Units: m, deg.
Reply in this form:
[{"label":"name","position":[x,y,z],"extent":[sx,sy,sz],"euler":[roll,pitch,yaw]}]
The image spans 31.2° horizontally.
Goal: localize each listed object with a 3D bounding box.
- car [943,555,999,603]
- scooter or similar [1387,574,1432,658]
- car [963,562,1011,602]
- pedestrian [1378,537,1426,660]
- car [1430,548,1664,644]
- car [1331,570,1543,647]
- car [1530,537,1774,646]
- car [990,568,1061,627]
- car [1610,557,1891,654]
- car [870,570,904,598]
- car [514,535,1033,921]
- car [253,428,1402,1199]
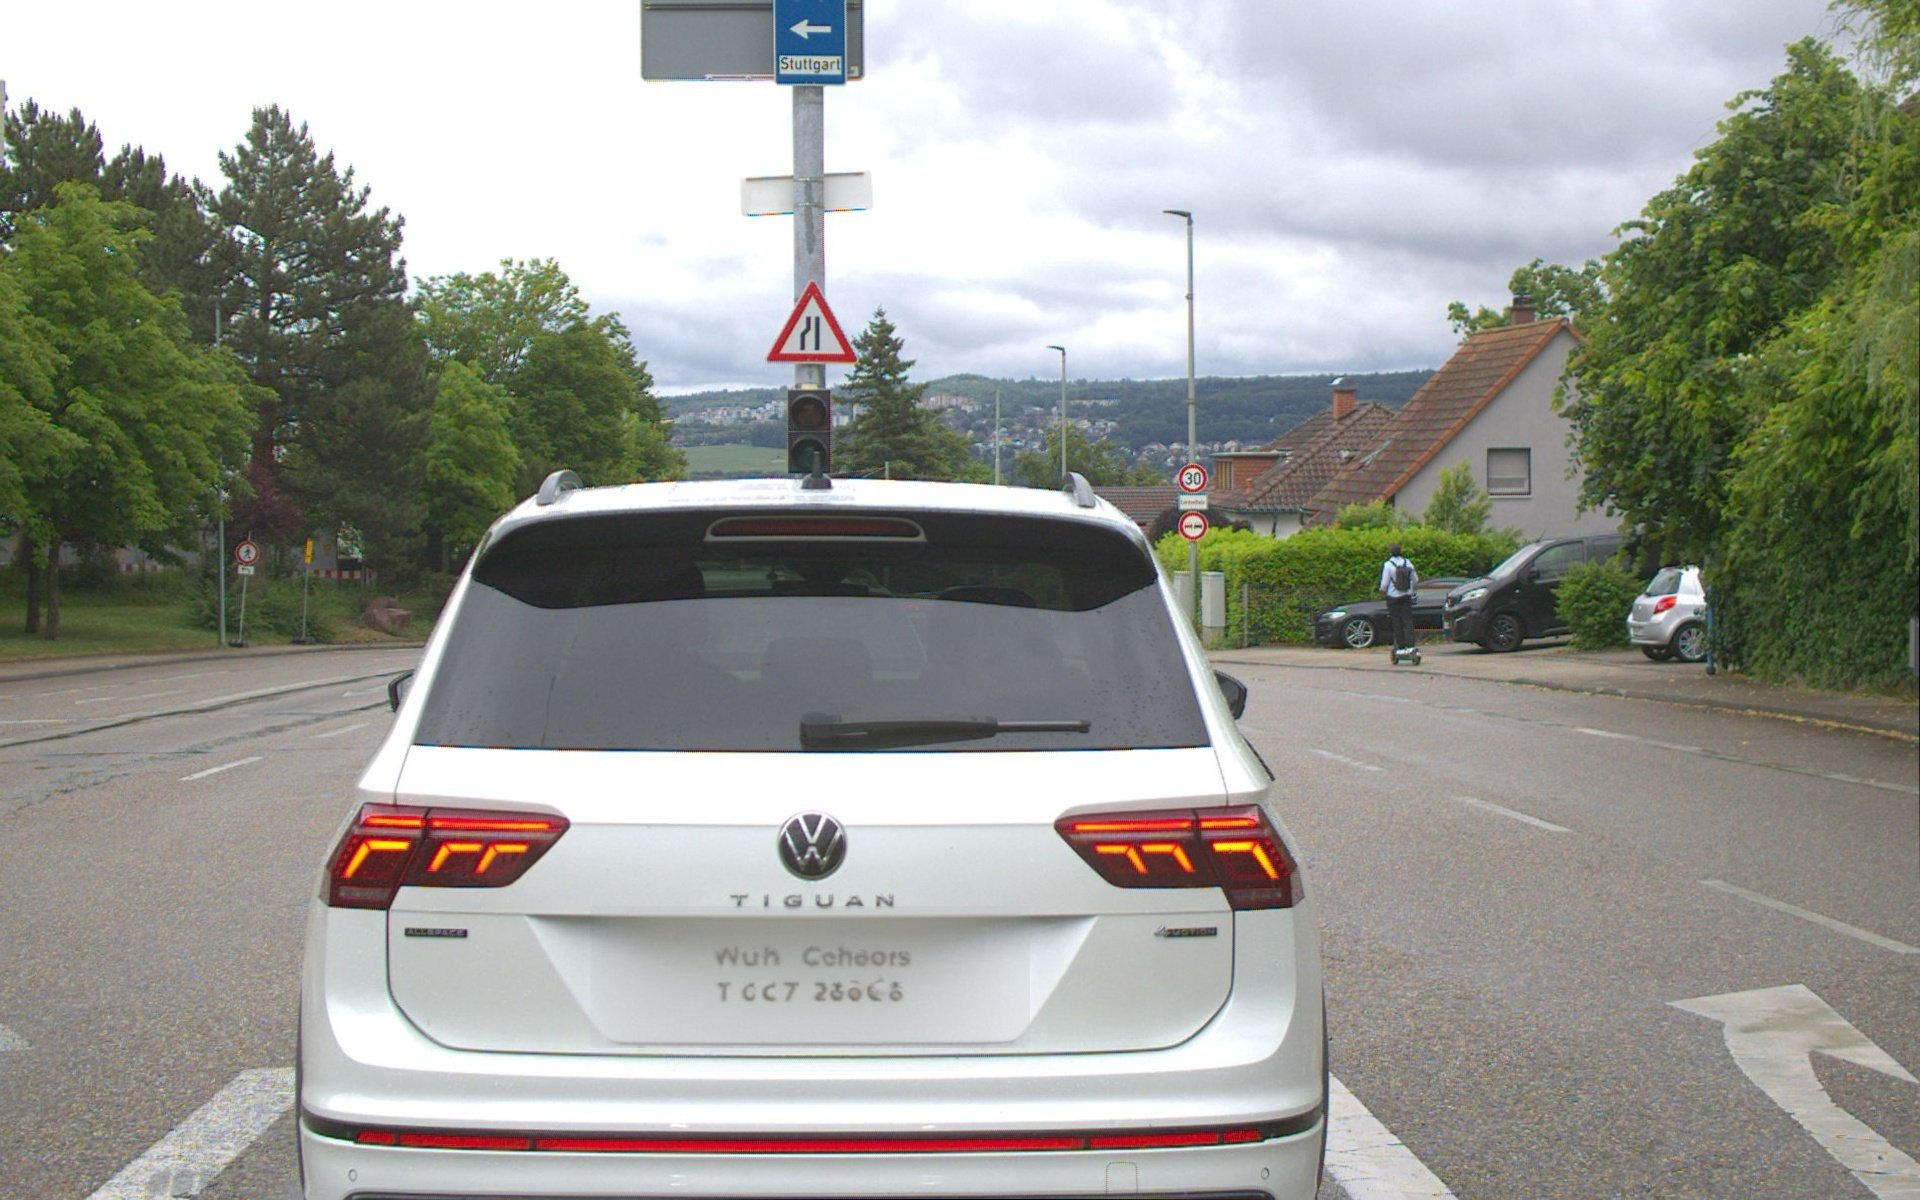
[{"label":"car","position":[0.354,-0.716,115.202],"extent":[1.850,1.569,4.000],"euler":[0,1,0]},{"label":"scooter or similar","position":[7.362,0.250,56.302],"extent":[0.461,1.356,1.385],"euler":[0,1,-4]},{"label":"car","position":[1.090,-0.745,140.198],"extent":[1.850,1.569,4.000],"euler":[-1,1,0]},{"label":"pedestrian","position":[7.224,-0.025,56.211],"extent":[0.655,1.995,0.718],"euler":[0,1,-4]},{"label":"car","position":[10.091,-0.081,59.252],"extent":[3.627,1.620,1.791],"euler":[0,1,-4]},{"label":"car","position":[8.857,0.174,63.979],"extent":[3.687,1.365,1.519],"euler":[1,-1,-2]},{"label":"car","position":[11.423,-0.152,56.883],"extent":[3.627,1.740,1.708],"euler":[-1,1,-4]},{"label":"car","position":[1.820,-0.074,96.760],"extent":[1.850,1.569,4.000],"euler":[1,1,0]},{"label":"car","position":[11.812,0.089,51.482],"extent":[3.713,1.390,1.729],"euler":[-1,0,-8]},{"label":"car","position":[-4.175,-0.934,196.878],"extent":[1.850,1.569,4.000],"euler":[-1,1,0]},{"label":"car","position":[-1.013,0.500,16.291],"extent":[1.798,1.584,3.927],"euler":[-1,1,-13]},{"label":"car","position":[-0.263,0.554,7.444],"extent":[1.762,1.690,4.273],"euler":[0,1,-2]}]
